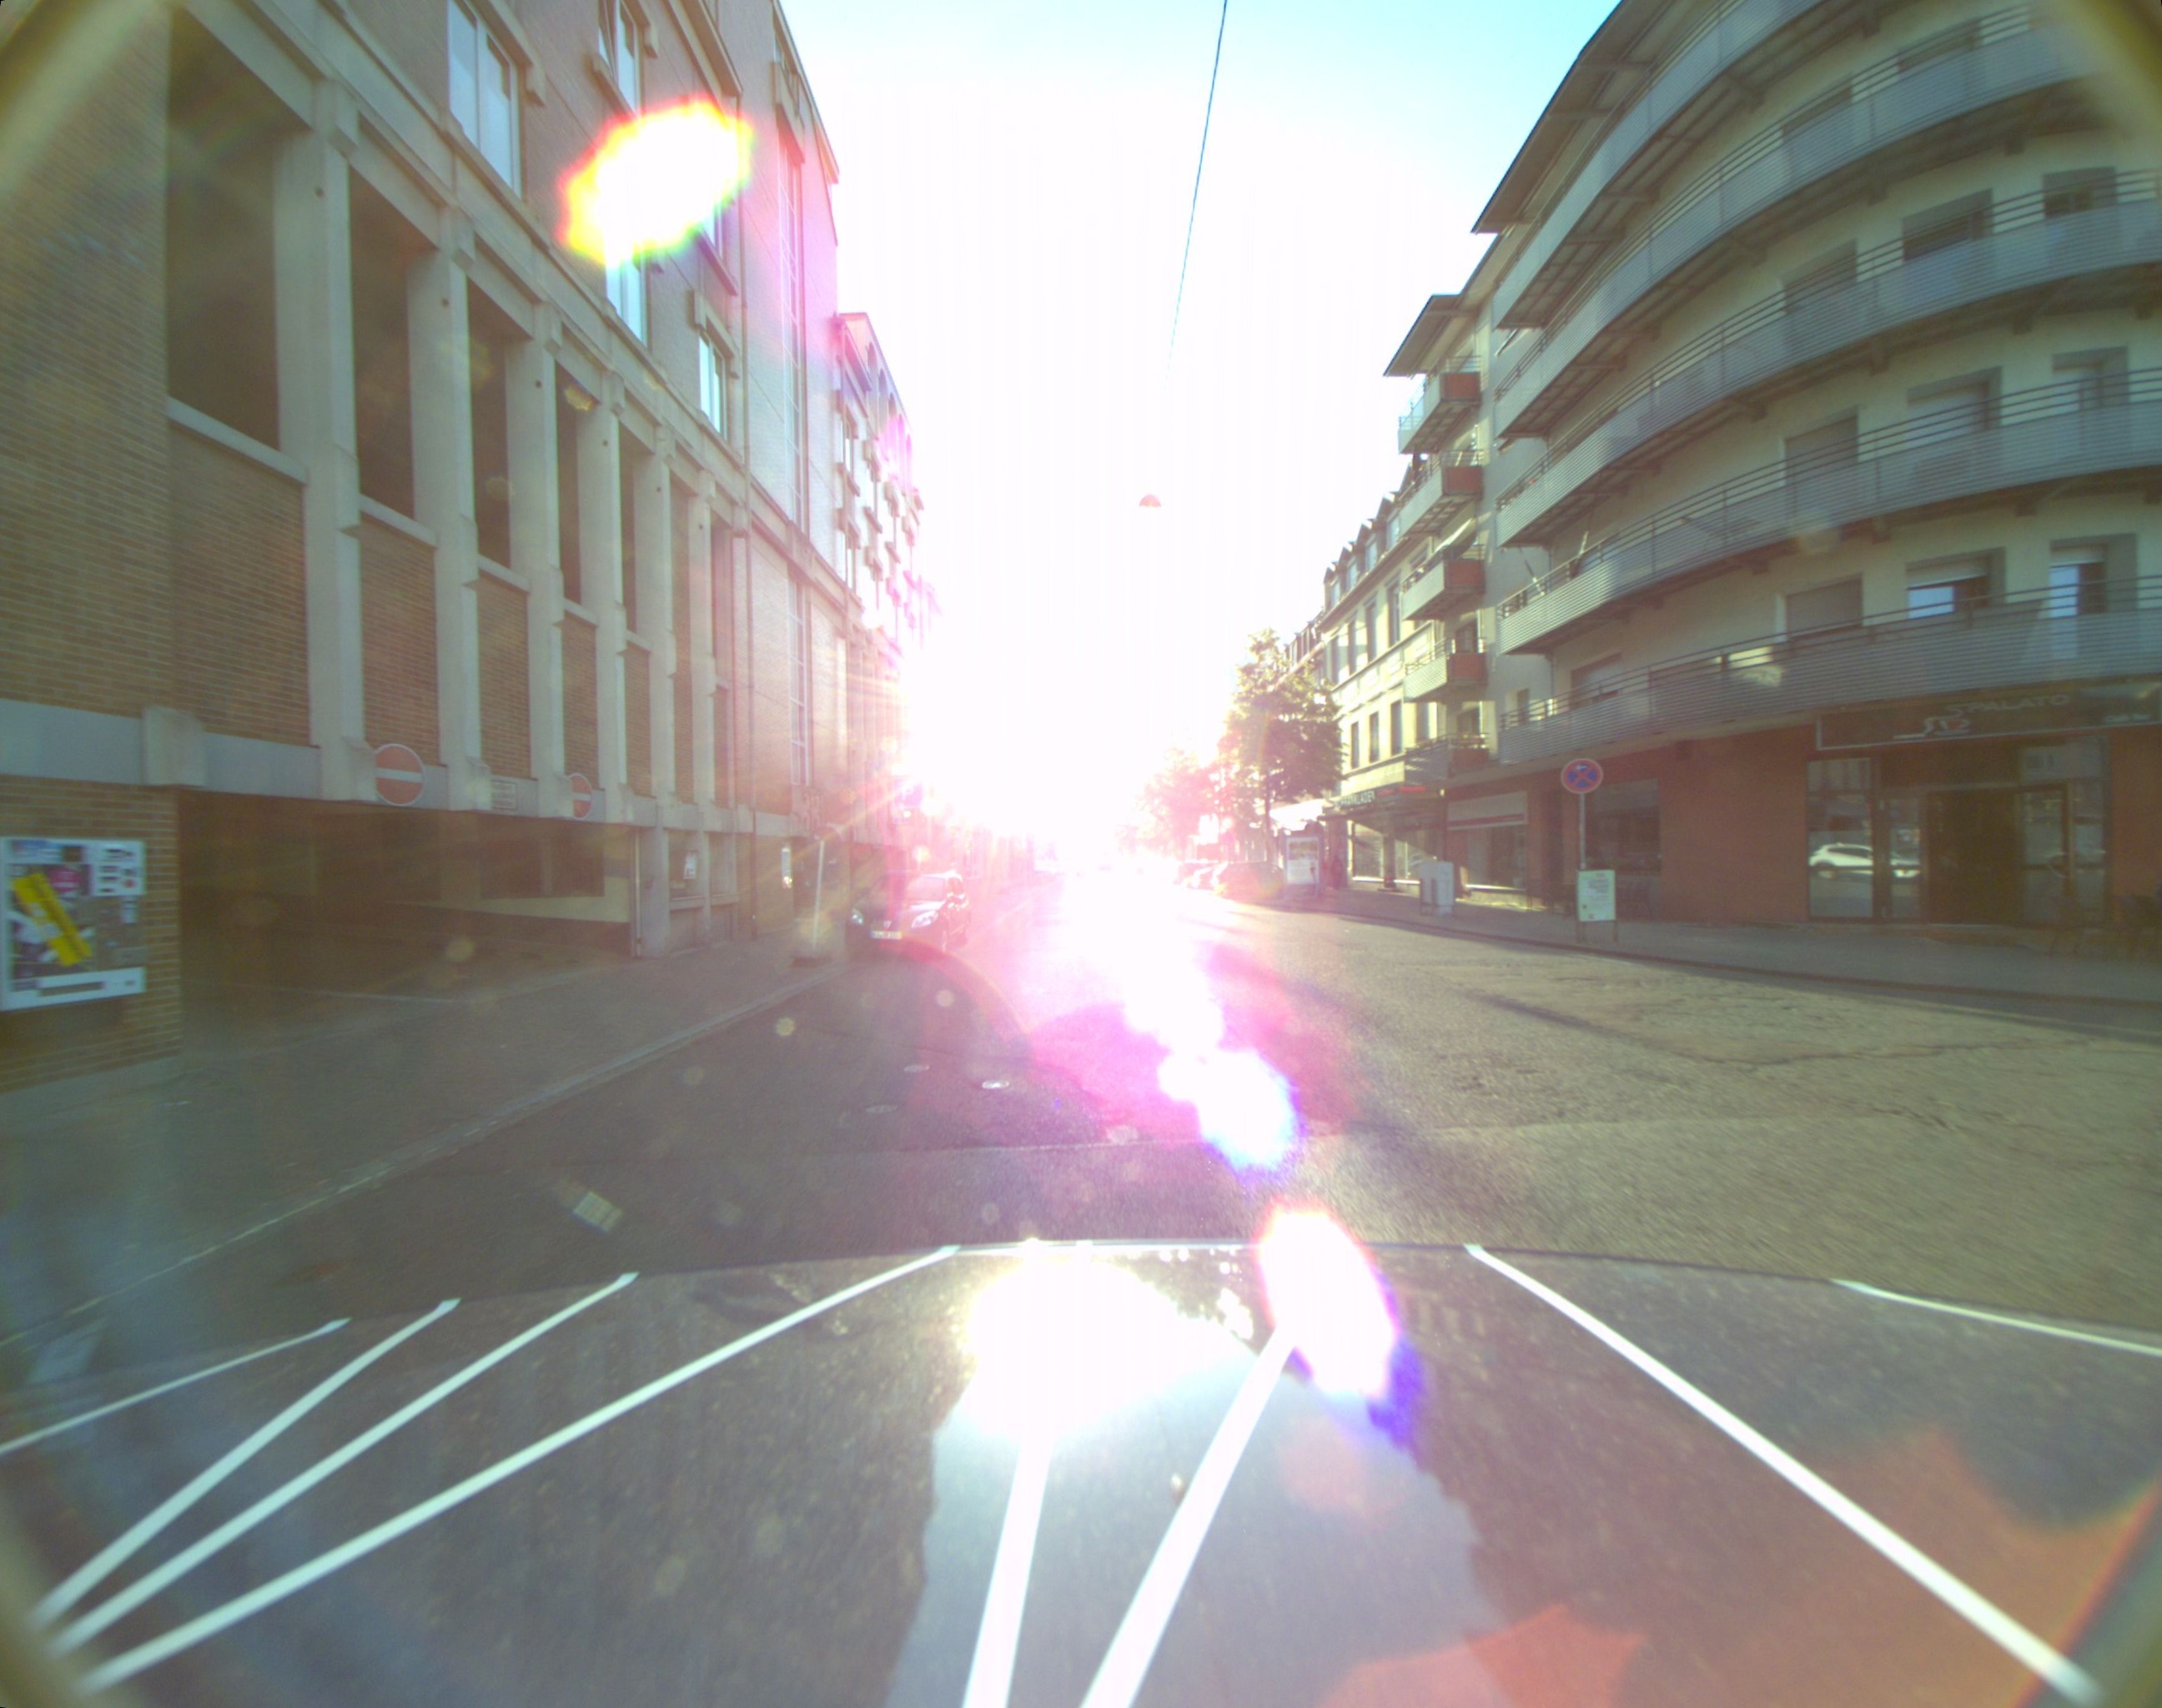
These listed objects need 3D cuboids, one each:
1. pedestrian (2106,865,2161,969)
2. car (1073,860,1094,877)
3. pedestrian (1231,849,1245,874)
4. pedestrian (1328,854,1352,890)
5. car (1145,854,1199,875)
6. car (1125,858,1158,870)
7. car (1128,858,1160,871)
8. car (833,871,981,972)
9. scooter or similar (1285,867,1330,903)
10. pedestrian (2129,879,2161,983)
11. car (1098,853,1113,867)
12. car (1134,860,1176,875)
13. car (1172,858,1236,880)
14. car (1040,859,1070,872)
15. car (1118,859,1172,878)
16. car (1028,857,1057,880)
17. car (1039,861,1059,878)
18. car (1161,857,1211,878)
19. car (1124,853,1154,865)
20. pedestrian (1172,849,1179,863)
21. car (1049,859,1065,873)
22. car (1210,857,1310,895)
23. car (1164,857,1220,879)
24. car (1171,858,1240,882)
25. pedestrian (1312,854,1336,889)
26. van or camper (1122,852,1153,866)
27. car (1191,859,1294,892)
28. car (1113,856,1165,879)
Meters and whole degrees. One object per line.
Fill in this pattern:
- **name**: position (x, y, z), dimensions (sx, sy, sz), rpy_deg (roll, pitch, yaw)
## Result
- **pedestrian**: position (14.635, 0.839, 10.148), dimensions (0.748, 1.340, 0.829), rpy_deg (-1, 2, -6)
- **car**: position (0.282, 1.305, 70.169), dimensions (1.825, 1.469, 4.155), rpy_deg (-2, 0, 1)
- **pedestrian**: position (11.449, 0.543, 55.371), dimensions (0.774, 1.712, 0.875), rpy_deg (-2, 2, 1)
- **pedestrian**: position (11.718, 0.808, 34.391), dimensions (0.774, 1.598, 0.875), rpy_deg (-2, 2, 1)
- **car**: position (7.976, 0.928, 66.845), dimensions (4.417, 1.586, 1.890), rpy_deg (-2, -1, -1)
- **car**: position (7.999, 1.380, 100.631), dimensions (4.052, 1.378, 1.744), rpy_deg (-2, -1, -3)
- **car**: position (8.160, 1.355, 98.339), dimensions (3.876, 1.448, 1.744), rpy_deg (-2, 0, -2)
- **car**: position (-3.122, 1.144, 14.462), dimensions (1.763, 1.527, 4.000), rpy_deg (2, 0, 1)
- **scooter or similar**: position (8.013, 1.088, 26.871), dimensions (1.402, 1.218, 0.525), rpy_deg (-2, 0, -3)
- **pedestrian**: position (13.554, 0.939, 9.138), dimensions (0.900, 1.235, 0.767), rpy_deg (-1, 2, -8)
- **car**: position (3.169, 0.809, 99.204), dimensions (1.866, 1.682, 4.461), rpy_deg (-1, -1, 0)
- **car**: position (7.945, 1.455, 82.038), dimensions (4.285, 1.475, 1.744), rpy_deg (-2, 0, 1)
- **car**: position (8.447, 1.014, 52.355), dimensions (4.107, 1.395, 1.843), rpy_deg (-1, 0, 2)
- **car**: position (-3.178, 1.473, 94.550), dimensions (1.661, 1.574, 3.632), rpy_deg (-1, -2, 41)
- **car**: position (5.172, 1.156, 61.618), dimensions (4.160, 1.413, 1.766), rpy_deg (-2, 0, -2)
- **car**: position (-3.101, 1.161, 61.951), dimensions (2.043, 1.727, 4.712), rpy_deg (1, 0, 1)
- **car**: position (-2.891, 1.372, 68.909), dimensions (1.734, 1.479, 3.900), rpy_deg (1, 0, -2)
- **car**: position (8.179, 1.053, 59.227), dimensions (3.565, 1.493, 1.716), rpy_deg (-2, 0, -1)
- **car**: position (8.326, 0.761, 109.784), dimensions (4.193, 1.659, 1.732), rpy_deg (-1, 1, 2)
- **pedestrian**: position (11.888, 0.296, 95.712), dimensions (0.721, 1.739, 0.934), rpy_deg (-4, 0, 1)
- **car**: position (-2.664, 1.320, 86.065), dimensions (1.695, 1.534, 3.553), rpy_deg (1, 0, 0)
- **car**: position (8.050, 0.982, 34.454), dimensions (4.083, 1.527, 1.884), rpy_deg (-2, 0, 0)
- **car**: position (8.036, 1.023, 55.351), dimensions (3.748, 1.435, 1.805), rpy_deg (-2, 0, -2)
- **car**: position (8.094, 1.024, 49.576), dimensions (4.117, 1.395, 1.884), rpy_deg (-2, 0, -2)
- **pedestrian**: position (10.993, 0.797, 34.414), dimensions (0.736, 1.519, 0.875), rpy_deg (-2, 2, 1)
- **van or camper**: position (8.412, 0.788, 112.881), dimensions (4.469, 1.944, 1.789), rpy_deg (-1, 0, 2)
- **car**: position (7.825, 1.045, 37.077), dimensions (4.582, 1.399, 1.821), rpy_deg (-2, 0, -1)
- **car**: position (4.908, 1.146, 64.439), dimensions (4.160, 1.762, 1.889), rpy_deg (-2, 0, -2)
